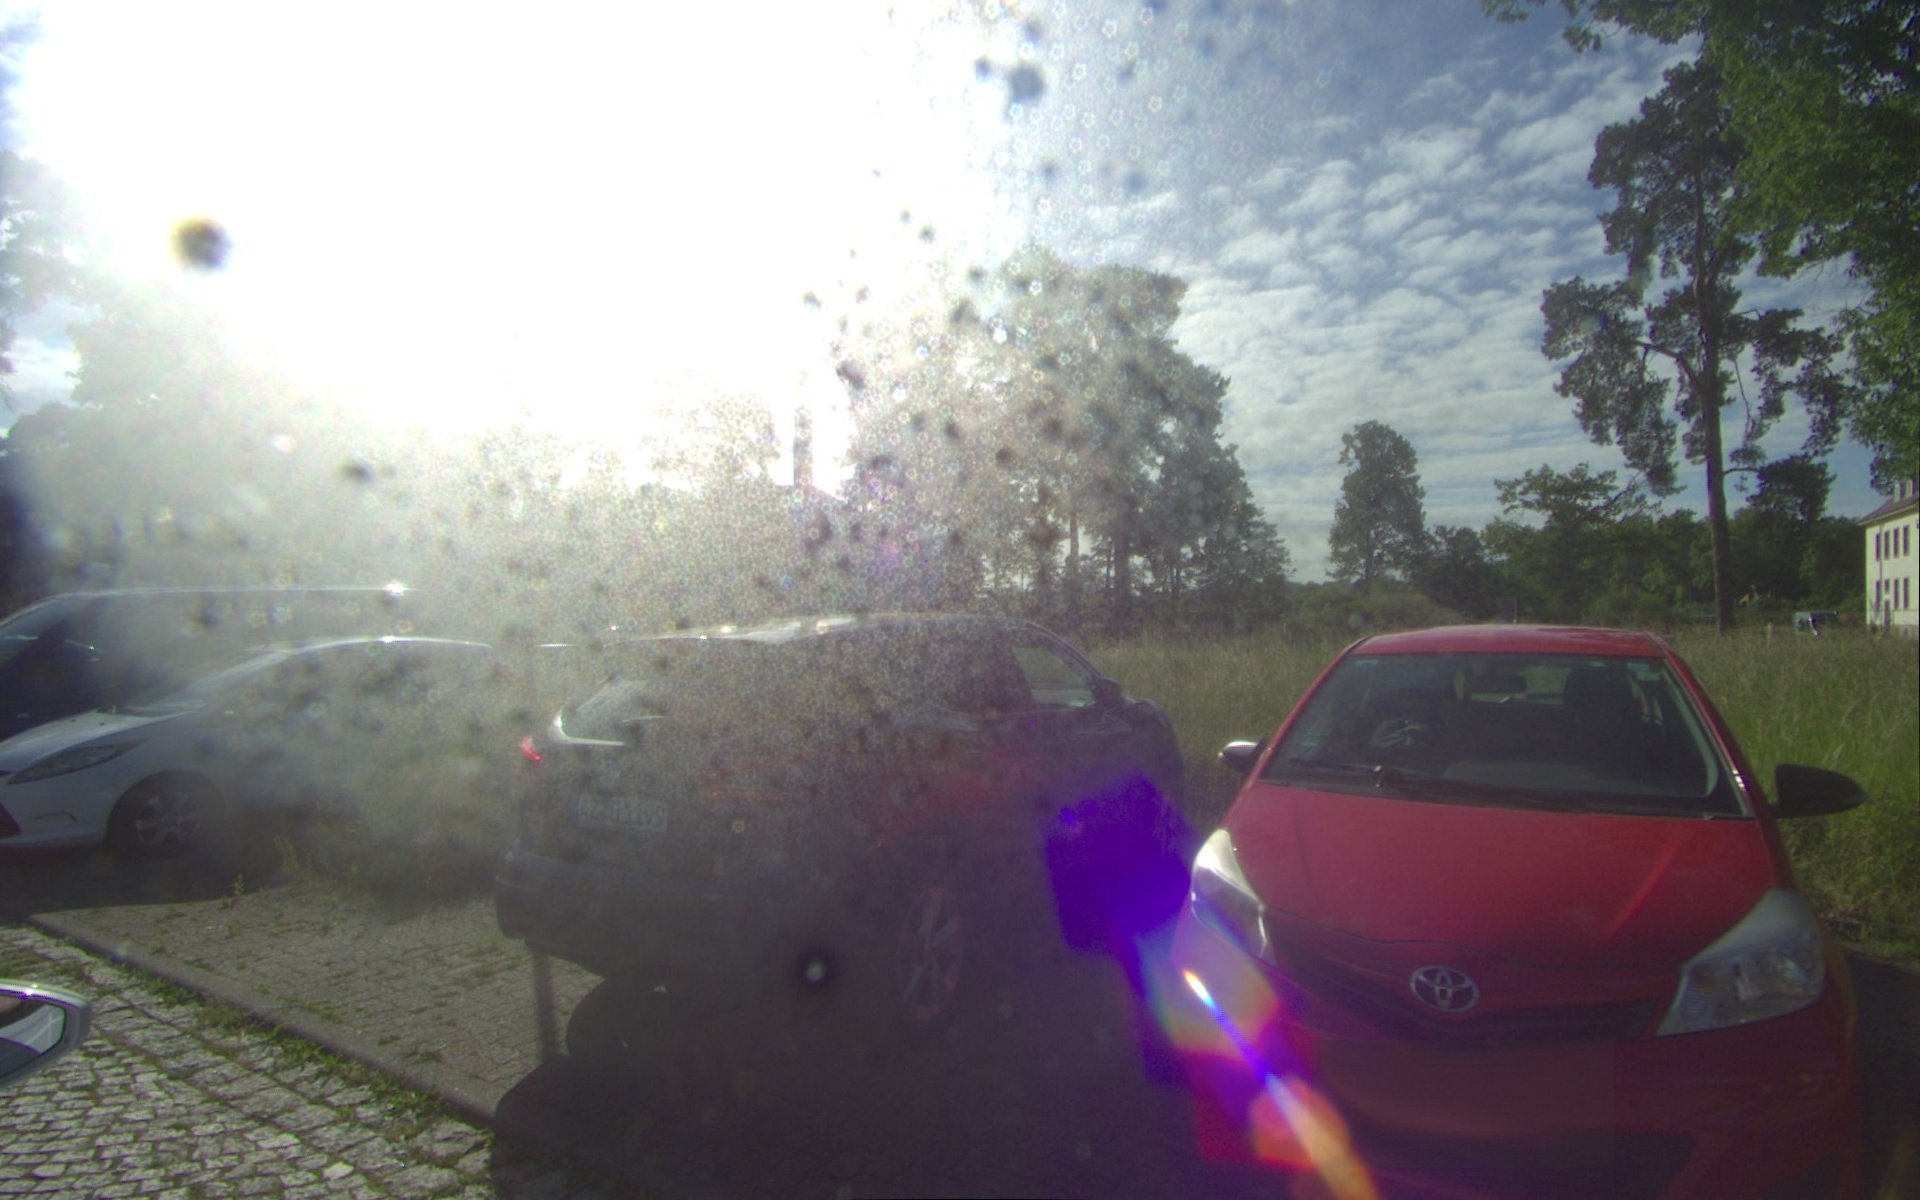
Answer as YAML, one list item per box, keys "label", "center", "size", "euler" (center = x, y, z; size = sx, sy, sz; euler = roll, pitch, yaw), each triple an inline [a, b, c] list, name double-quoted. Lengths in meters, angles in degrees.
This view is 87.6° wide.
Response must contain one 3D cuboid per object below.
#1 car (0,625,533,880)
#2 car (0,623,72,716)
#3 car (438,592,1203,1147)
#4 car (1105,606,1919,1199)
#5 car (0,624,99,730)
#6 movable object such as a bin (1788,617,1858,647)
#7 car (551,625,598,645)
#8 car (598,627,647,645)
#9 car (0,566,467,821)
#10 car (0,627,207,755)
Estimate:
- label: "car"
  center: [-5.634, 0.997, 8.211]
  size: [1.586, 1.486, 3.714]
  euler: [-1, 0, 30]
- label: "car"
  center: [-16.711, 1.161, 15.851]
  size: [1.643, 1.474, 3.655]
  euler: [-1, 0, 32]
- label: "car"
  center: [-0.221, 0.830, 5.172]
  size: [1.760, 1.632, 4.101]
  euler: [-1, -1, 30]
- label: "car"
  center: [2.116, 0.816, 3.843]
  size: [1.679, 1.559, 3.817]
  euler: [-1, 0, 32]
- label: "car"
  center: [-14.640, 1.108, 13.892]
  size: [1.733, 1.470, 3.771]
  euler: [-1, 0, 34]
- label: "movable object such as a bin"
  center: [61.933, 2.255, 72.011]
  size: [2.087, 2.040, 5.724]
  euler: [-1, -1, 22]
- label: "car"
  center: [-34.467, 3.108, 89.655]
  size: [1.743, 1.692, 3.627]
  euler: [-1, -1, 34]
- label: "car"
  center: [-28.608, 3.039, 85.028]
  size: [1.743, 1.517, 3.627]
  euler: [-1, -1, 34]
- label: "car"
  center: [-7.680, 0.740, 9.826]
  size: [1.972, 2.040, 4.743]
  euler: [-1, 1, 32]
- label: "car"
  center: [-11.995, 1.117, 12.672]
  size: [1.611, 1.511, 3.638]
  euler: [-1, -1, 32]
